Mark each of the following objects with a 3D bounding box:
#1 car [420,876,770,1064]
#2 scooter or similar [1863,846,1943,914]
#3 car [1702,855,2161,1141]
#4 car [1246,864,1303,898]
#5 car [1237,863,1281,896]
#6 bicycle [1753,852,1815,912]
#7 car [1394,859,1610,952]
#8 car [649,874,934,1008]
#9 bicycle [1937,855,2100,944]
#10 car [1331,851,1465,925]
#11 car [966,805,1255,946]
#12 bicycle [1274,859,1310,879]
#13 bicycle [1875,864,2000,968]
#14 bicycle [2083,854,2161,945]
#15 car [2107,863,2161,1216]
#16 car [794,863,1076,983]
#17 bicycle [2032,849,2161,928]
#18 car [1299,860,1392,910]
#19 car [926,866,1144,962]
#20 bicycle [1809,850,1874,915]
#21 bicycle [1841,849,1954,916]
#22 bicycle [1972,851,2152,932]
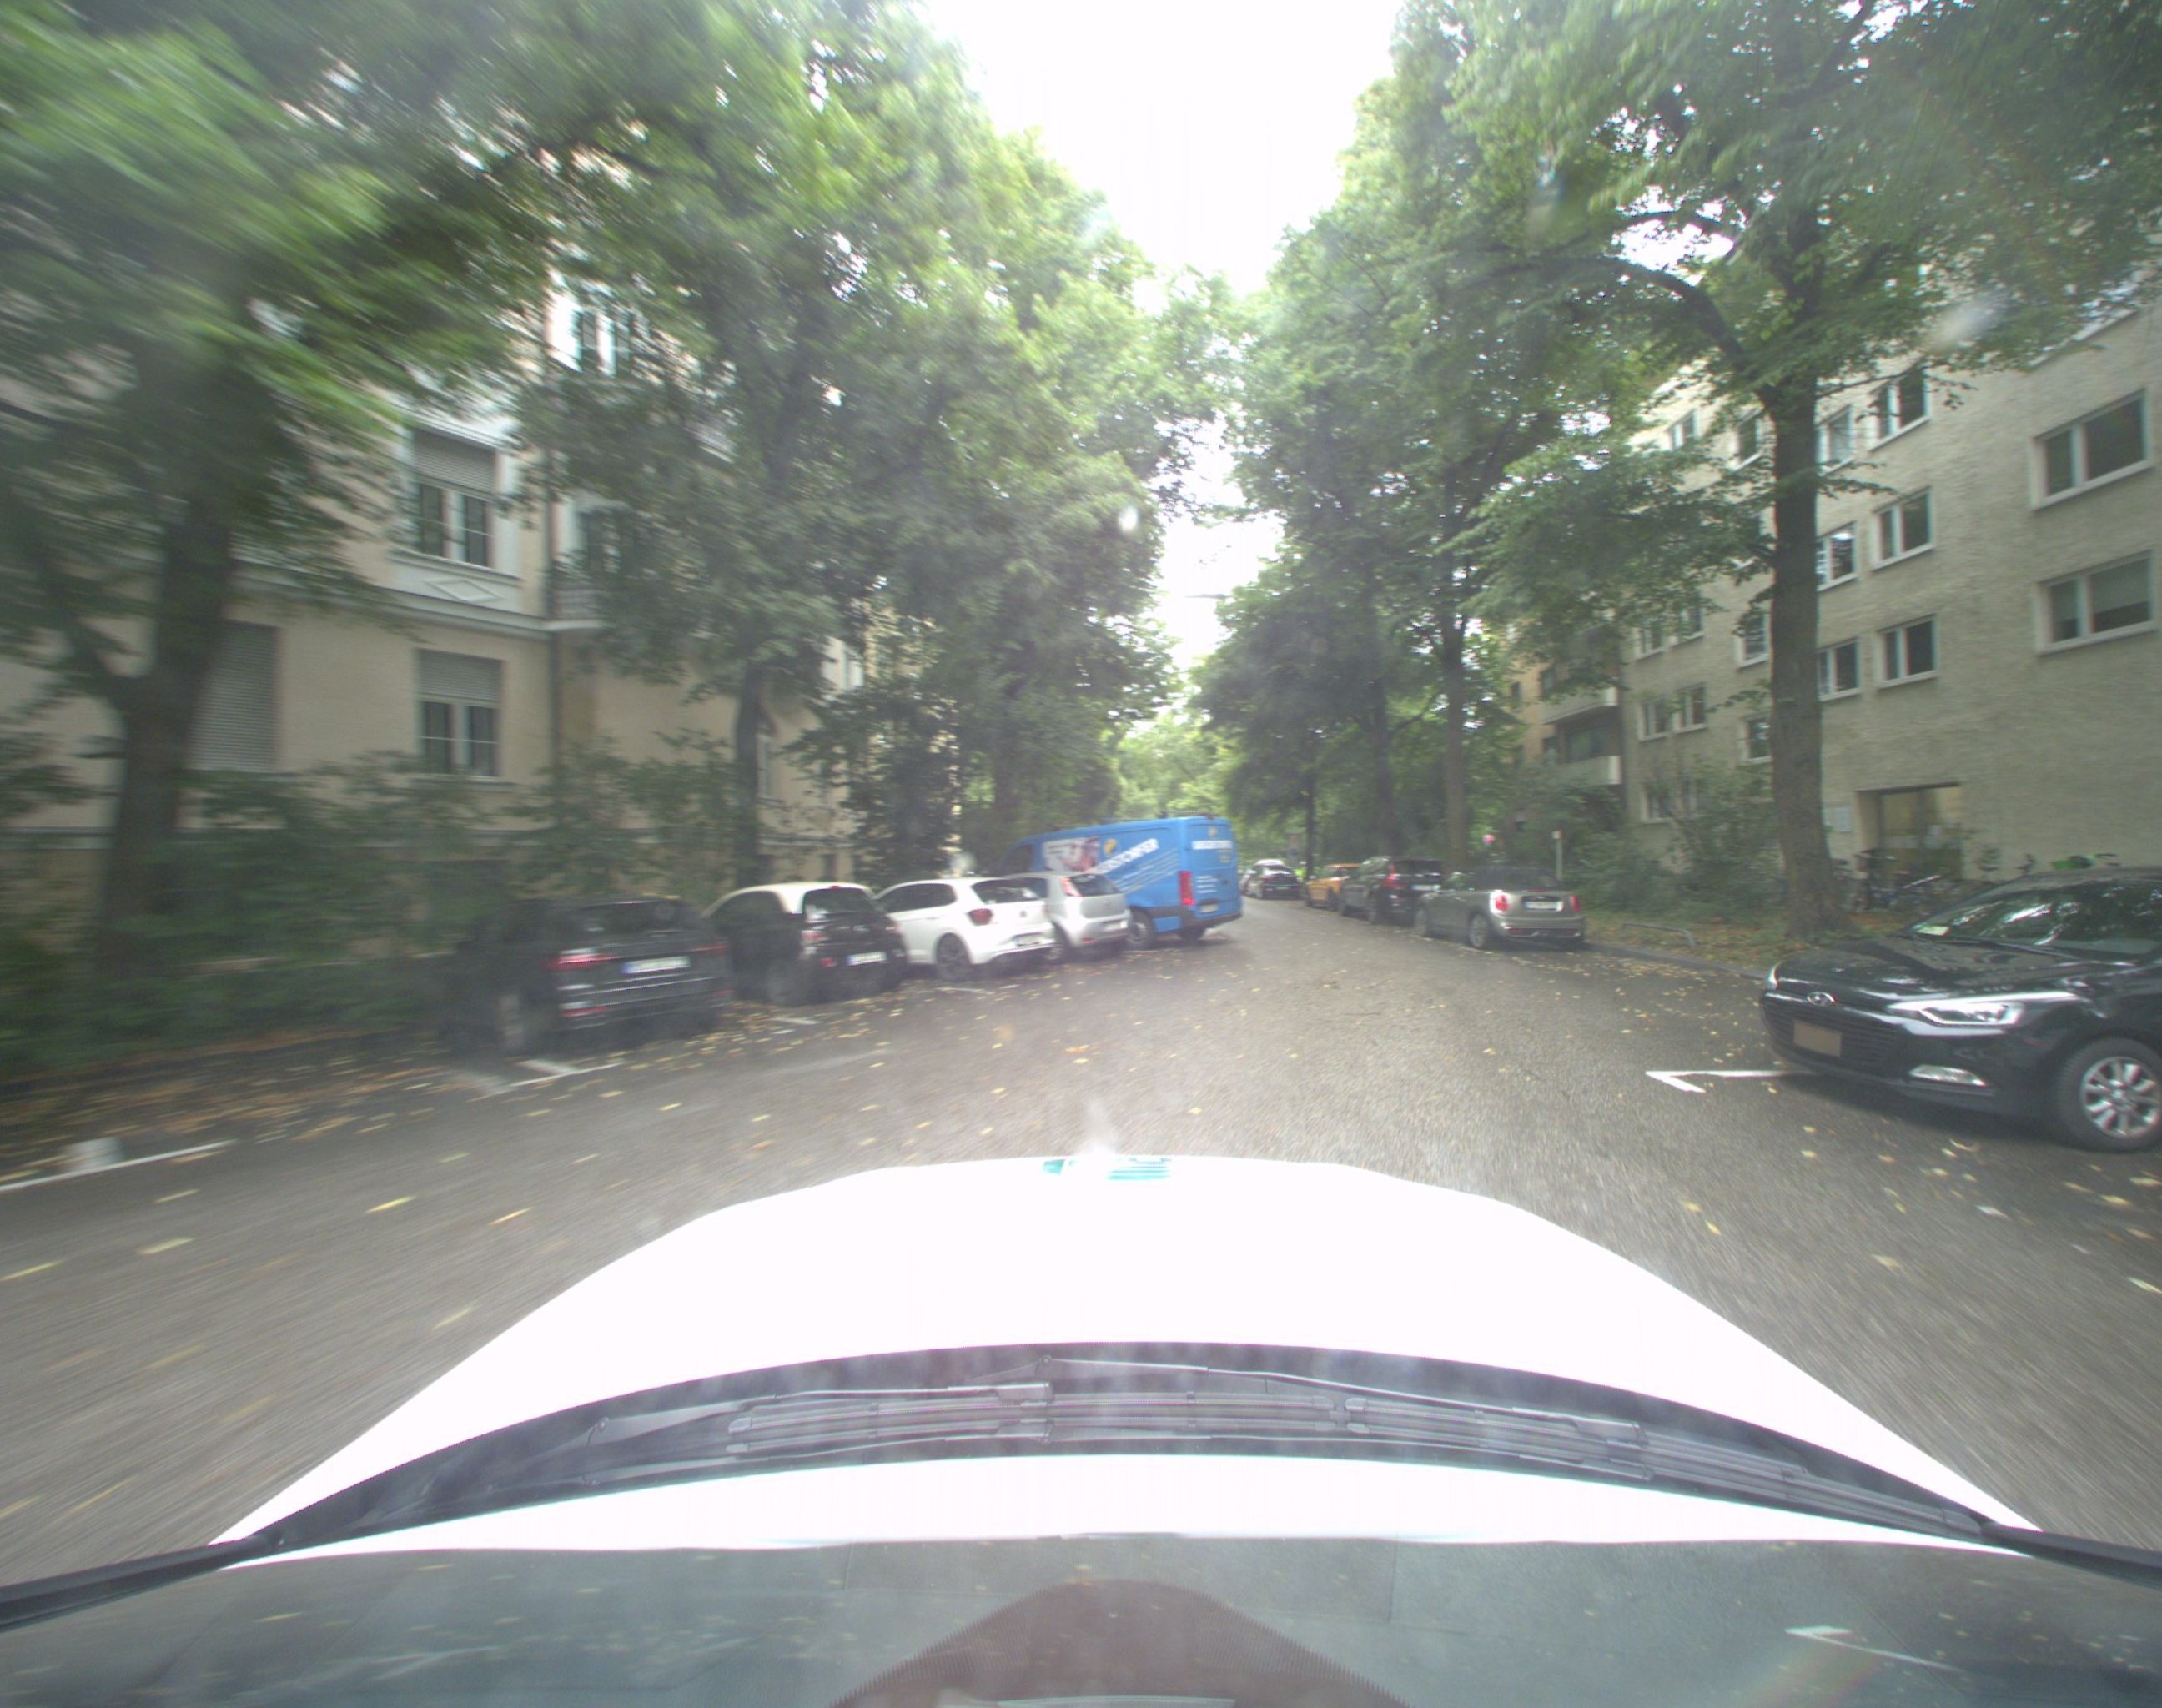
[{"bbox_3d":[-5.246,1.094,8.559,4.109,1.425,1.875,-5,-2,40],"label":"car"},{"bbox_3d":[15.756,0.491,15.633,0.382,1.253,1.137,-1,-1,3],"label":"scooter or similar"},{"bbox_3d":[6.540,0.733,4.973,4.064,1.394,1.736,-2,-1,4],"label":"car"},{"bbox_3d":[8.336,1.140,35.453,1.675,1.358,4.011,-1,0,2],"label":"car"},{"bbox_3d":[8.623,1.194,39.703,1.639,1.474,3.649,-2,-1,5],"label":"car"},{"bbox_3d":[14.095,0.537,16.304,1.778,1.124,0.441,-1,-1,-33],"label":"bicycle"},{"bbox_3d":[7.701,0.873,15.471,1.891,1.413,4.432,-3,-1,2],"label":"car"},{"bbox_3d":[-3.972,1.158,10.937,3.701,1.425,1.845,-7,-3,38],"label":"car"},{"bbox_3d":[12.742,0.598,11.082,1.870,1.124,0.538,-1,-1,-10],"label":"bicycle"},{"bbox_3d":[7.831,0.786,20.582,1.823,1.629,4.529,-2,0,3],"label":"car"},{"bbox_3d":[0.422,0.532,16.142,5.424,2.354,2.079,-5,-3,38],"label":"car"},{"bbox_3d":[11.105,0.771,42.881,1.740,0.982,0.274,-2,-1,11],"label":"bicycle"},{"bbox_3d":[10.875,0.735,10.324,1.877,1.164,0.758,-1,-1,-34],"label":"bicycle"},{"bbox_3d":[14.342,0.568,10.745,1.870,1.124,0.538,-1,-1,-10],"label":"bicycle"},{"bbox_3d":[6.392,0.690,2.615,3.924,1.447,1.826,-2,-1,-1],"label":"car"},{"bbox_3d":[-2.368,1.114,12.650,4.229,1.513,1.815,-7,-3,37],"label":"car"},{"bbox_3d":[15.594,0.490,12.210,0.444,1.124,1.767,-1,-1,-7],"label":"bicycle"},{"bbox_3d":[8.211,0.917,25.597,1.613,1.412,3.778,-1,-1,-1],"label":"car"},{"bbox_3d":[-0.856,1.026,14.142,3.507,1.433,1.654,-4,-2,39],"label":"car"},{"bbox_3d":[14.109,0.501,15.093,1.778,1.124,0.441,-1,-1,-33],"label":"bicycle"},{"bbox_3d":[14.614,0.502,14.578,1.944,1.124,0.443,-1,-1,-13],"label":"bicycle"},{"bbox_3d":[14.832,0.537,12.395,0.444,1.124,1.767,-1,-1,-7],"label":"bicycle"}]
